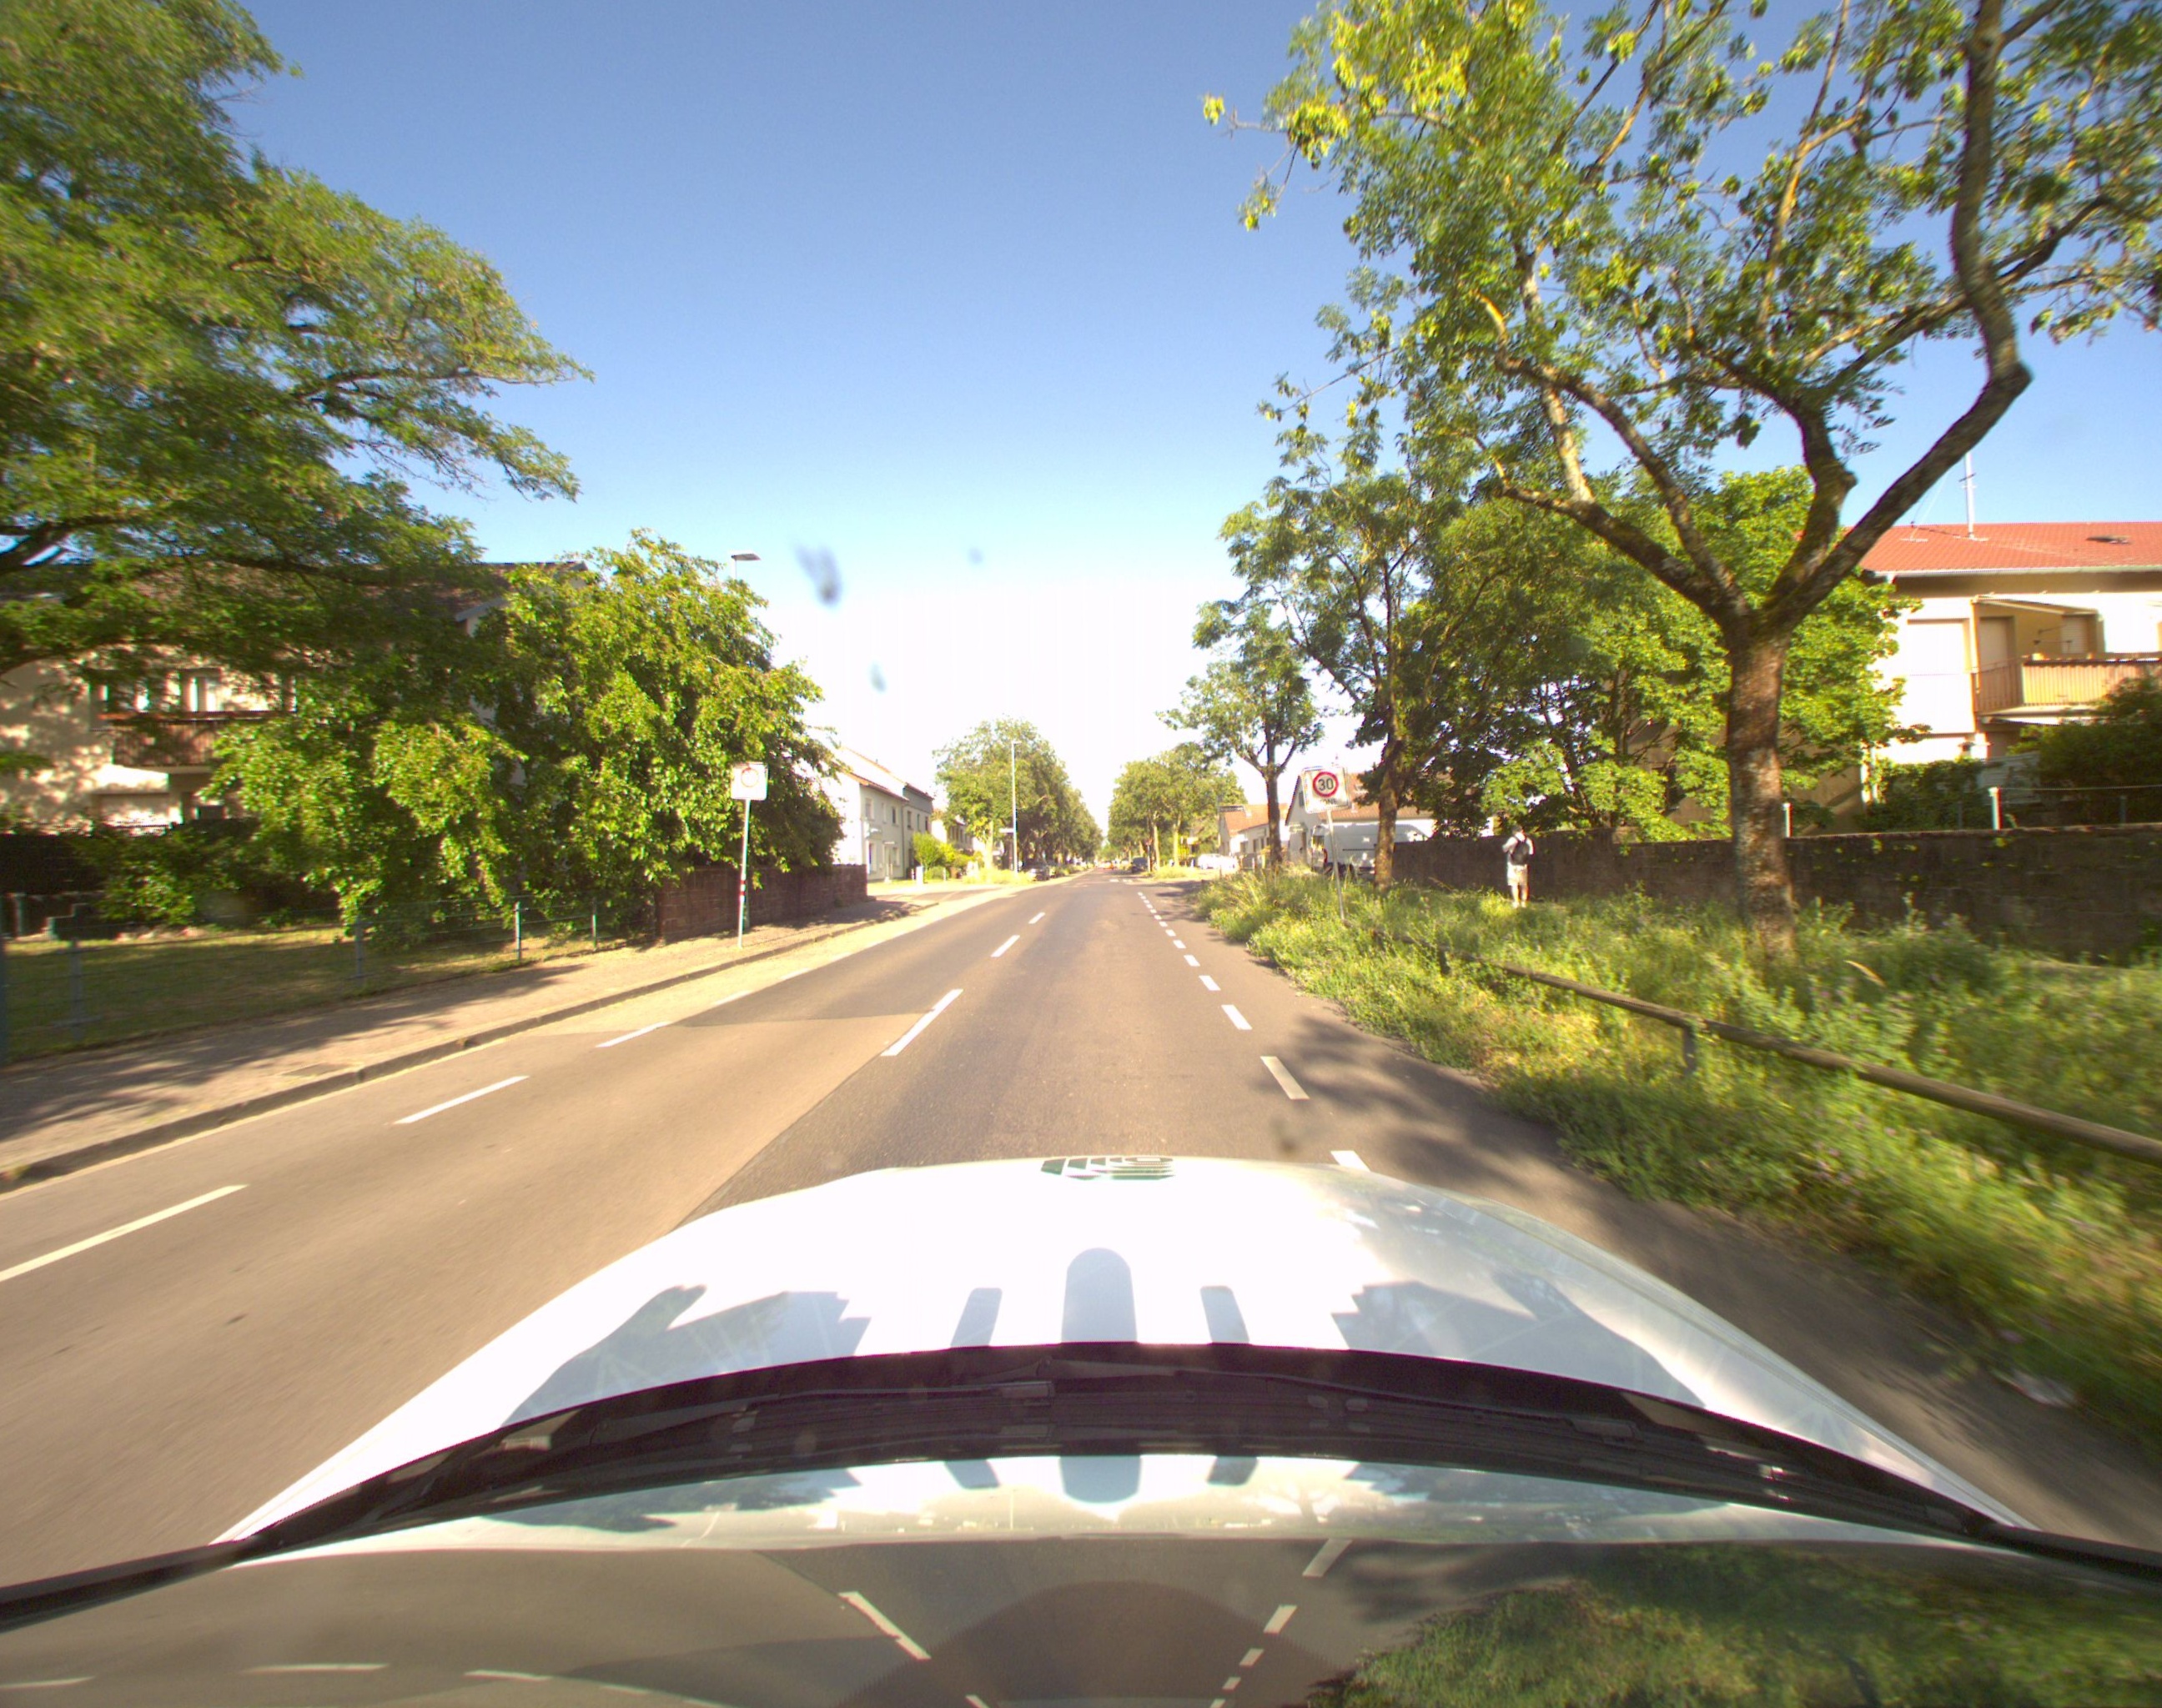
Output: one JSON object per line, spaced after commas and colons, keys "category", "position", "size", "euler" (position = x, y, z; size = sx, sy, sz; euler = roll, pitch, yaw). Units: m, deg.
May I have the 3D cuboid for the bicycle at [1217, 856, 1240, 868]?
{"category": "bicycle", "position": [13.731, 0.704, 75.740], "size": [1.951, 0.998, 0.576], "euler": [-3, 1, 0]}

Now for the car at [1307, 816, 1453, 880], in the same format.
{"category": "car", "position": [13.128, -0.256, 35.992], "size": [5.578, 2.539, 2.265], "euler": [-2, 0, -1]}

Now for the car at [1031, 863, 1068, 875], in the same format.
{"category": "car", "position": [-3.993, 1.922, 104.115], "size": [4.538, 1.511, 1.842], "euler": [-1, 1, 1]}

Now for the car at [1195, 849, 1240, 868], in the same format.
{"category": "car", "position": [13.195, 0.423, 78.890], "size": [3.974, 1.488, 1.902], "euler": [-4, 1, 0]}

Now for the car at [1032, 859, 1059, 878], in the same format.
{"category": "car", "position": [-3.114, 1.281, 71.582], "size": [1.931, 1.609, 4.386], "euler": [-1, -2, 3]}

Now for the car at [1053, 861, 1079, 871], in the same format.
{"category": "car", "position": [-2.653, 2.063, 141.585], "size": [4.536, 1.765, 1.998], "euler": [-1, 1, -3]}

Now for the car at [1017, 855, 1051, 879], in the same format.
{"category": "car", "position": [-3.398, 0.989, 59.856], "size": [1.945, 1.727, 4.878], "euler": [-1, -2, 3]}

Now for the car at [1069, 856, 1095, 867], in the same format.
{"category": "car", "position": [0.185, 1.521, 169.624], "size": [5.480, 2.247, 2.517], "euler": [-1, 1, 0]}

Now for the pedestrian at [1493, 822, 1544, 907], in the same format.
{"category": "pedestrian", "position": [9.197, 0.208, 17.136], "size": [0.635, 1.705, 0.612], "euler": [-4, 1, 0]}

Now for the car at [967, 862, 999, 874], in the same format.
{"category": "car", "position": [-14.585, 2.090, 121.020], "size": [4.543, 1.618, 1.999], "euler": [-1, 1, -2]}

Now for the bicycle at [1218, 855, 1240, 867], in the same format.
{"category": "bicycle", "position": [13.972, 0.673, 76.729], "size": [1.917, 0.998, 0.576], "euler": [-3, 1, 0]}

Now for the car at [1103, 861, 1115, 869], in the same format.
{"category": "car", "position": [4.771, 1.854, 137.347], "size": [1.882, 1.479, 3.887], "euler": [0, -1, 0]}

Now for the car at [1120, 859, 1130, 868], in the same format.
{"category": "car", "position": [8.585, 1.918, 160.354], "size": [1.895, 1.774, 4.303], "euler": [-1, -1, 2]}

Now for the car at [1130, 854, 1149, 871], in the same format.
{"category": "car", "position": [6.235, 0.929, 87.260], "size": [1.846, 1.626, 4.471], "euler": [-3, -1, 2]}
